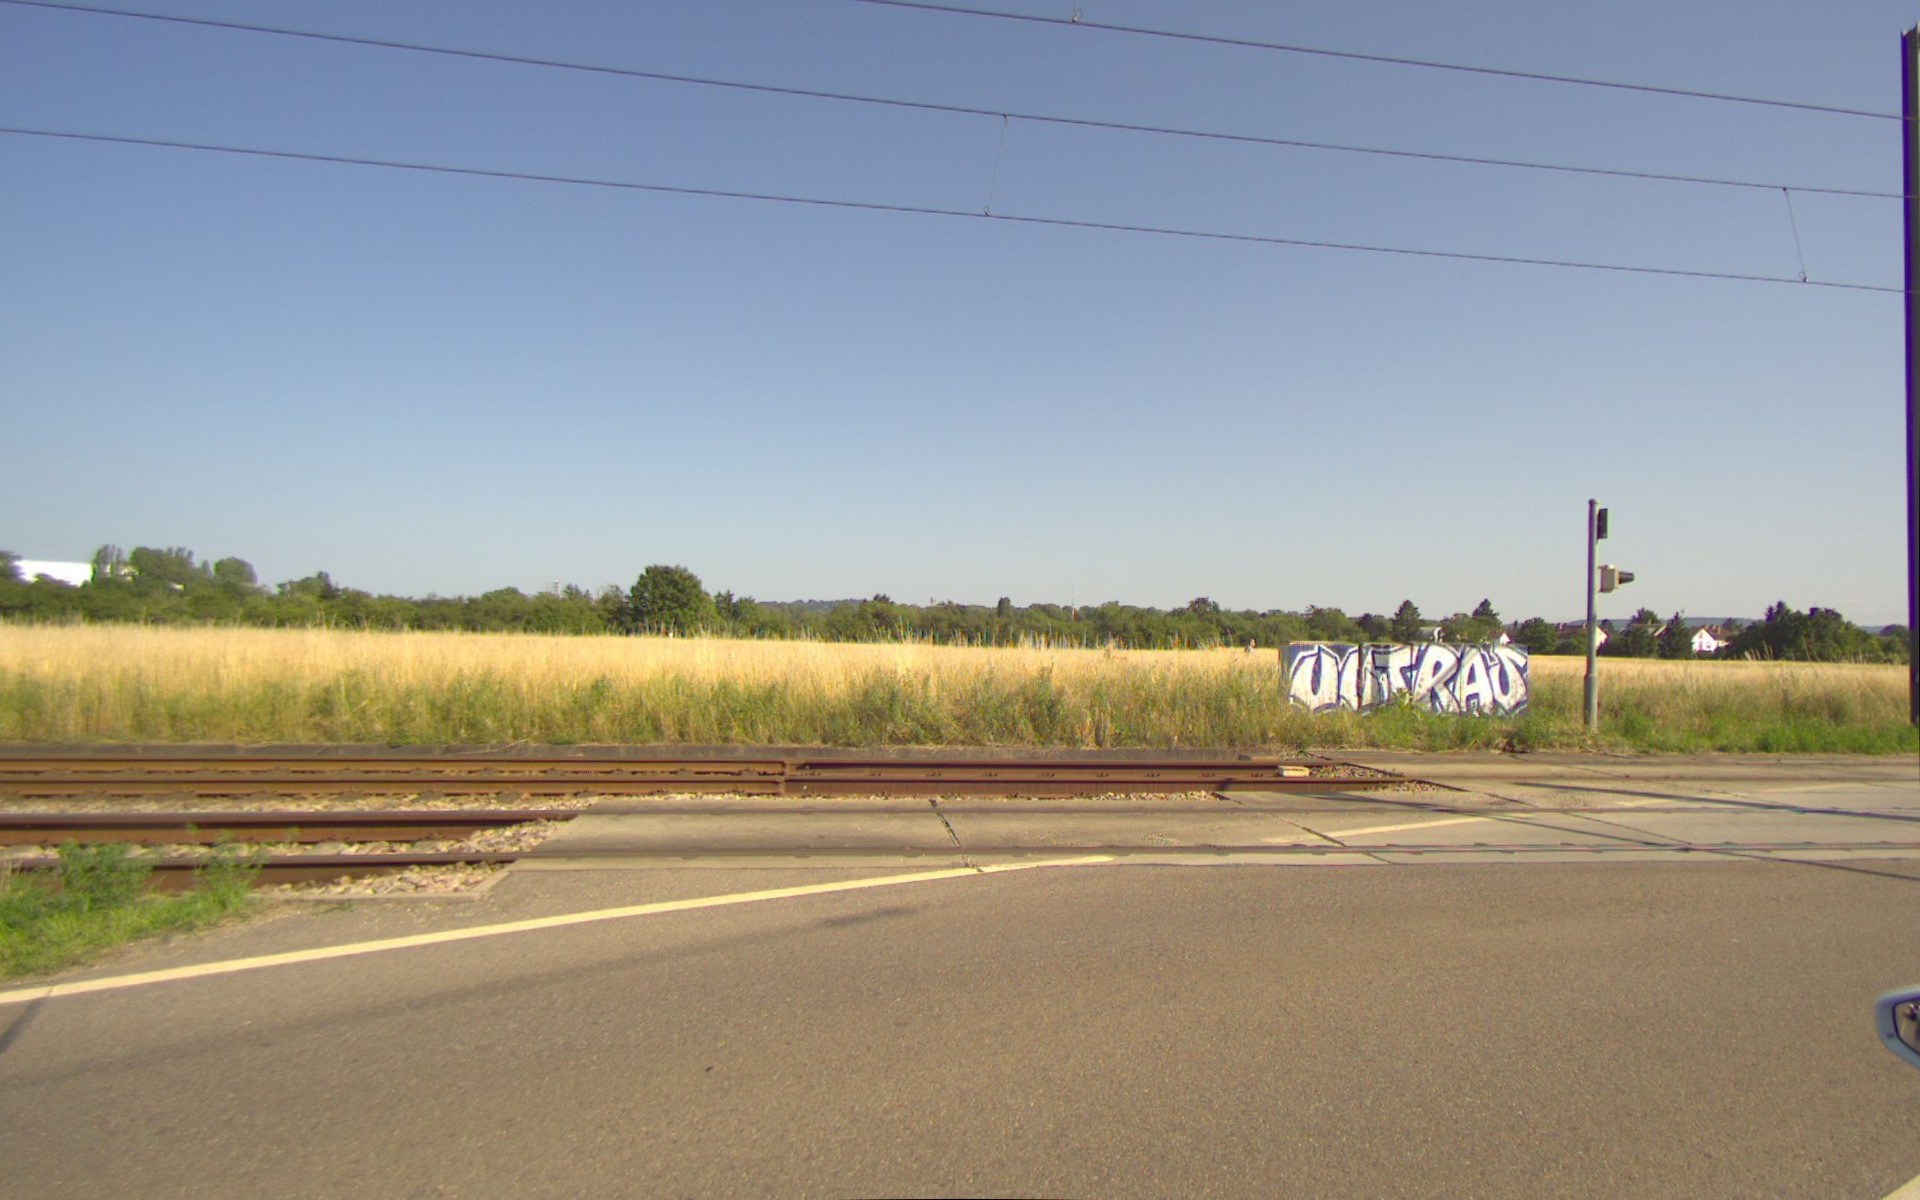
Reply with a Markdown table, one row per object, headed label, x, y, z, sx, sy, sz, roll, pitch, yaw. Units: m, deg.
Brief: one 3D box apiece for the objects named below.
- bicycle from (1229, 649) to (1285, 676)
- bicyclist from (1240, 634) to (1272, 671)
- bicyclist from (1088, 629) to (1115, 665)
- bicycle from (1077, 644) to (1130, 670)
| label | x | y | z | sx | sy | sz | roll | pitch | yaw |
| --- | --- | --- | --- | --- | --- | --- | --- | --- | --- |
| bicycle | 10.279 | 2.153 | 34.820 | 1.705 | 0.850 | 0.751 | 2 | -1 | -9 |
| bicyclist | 10.261 | 1.810 | 34.824 | 0.775 | 1.221 | 0.746 | 2 | -1 | -10 |
| bicyclist | 4.902 | 1.613 | 34.892 | 0.775 | 1.221 | 0.603 | 1 | -1 | -10 |
| bicycle | 4.996 | 1.980 | 34.898 | 1.705 | 0.850 | 0.614 | 2 | -1 | -9 |
